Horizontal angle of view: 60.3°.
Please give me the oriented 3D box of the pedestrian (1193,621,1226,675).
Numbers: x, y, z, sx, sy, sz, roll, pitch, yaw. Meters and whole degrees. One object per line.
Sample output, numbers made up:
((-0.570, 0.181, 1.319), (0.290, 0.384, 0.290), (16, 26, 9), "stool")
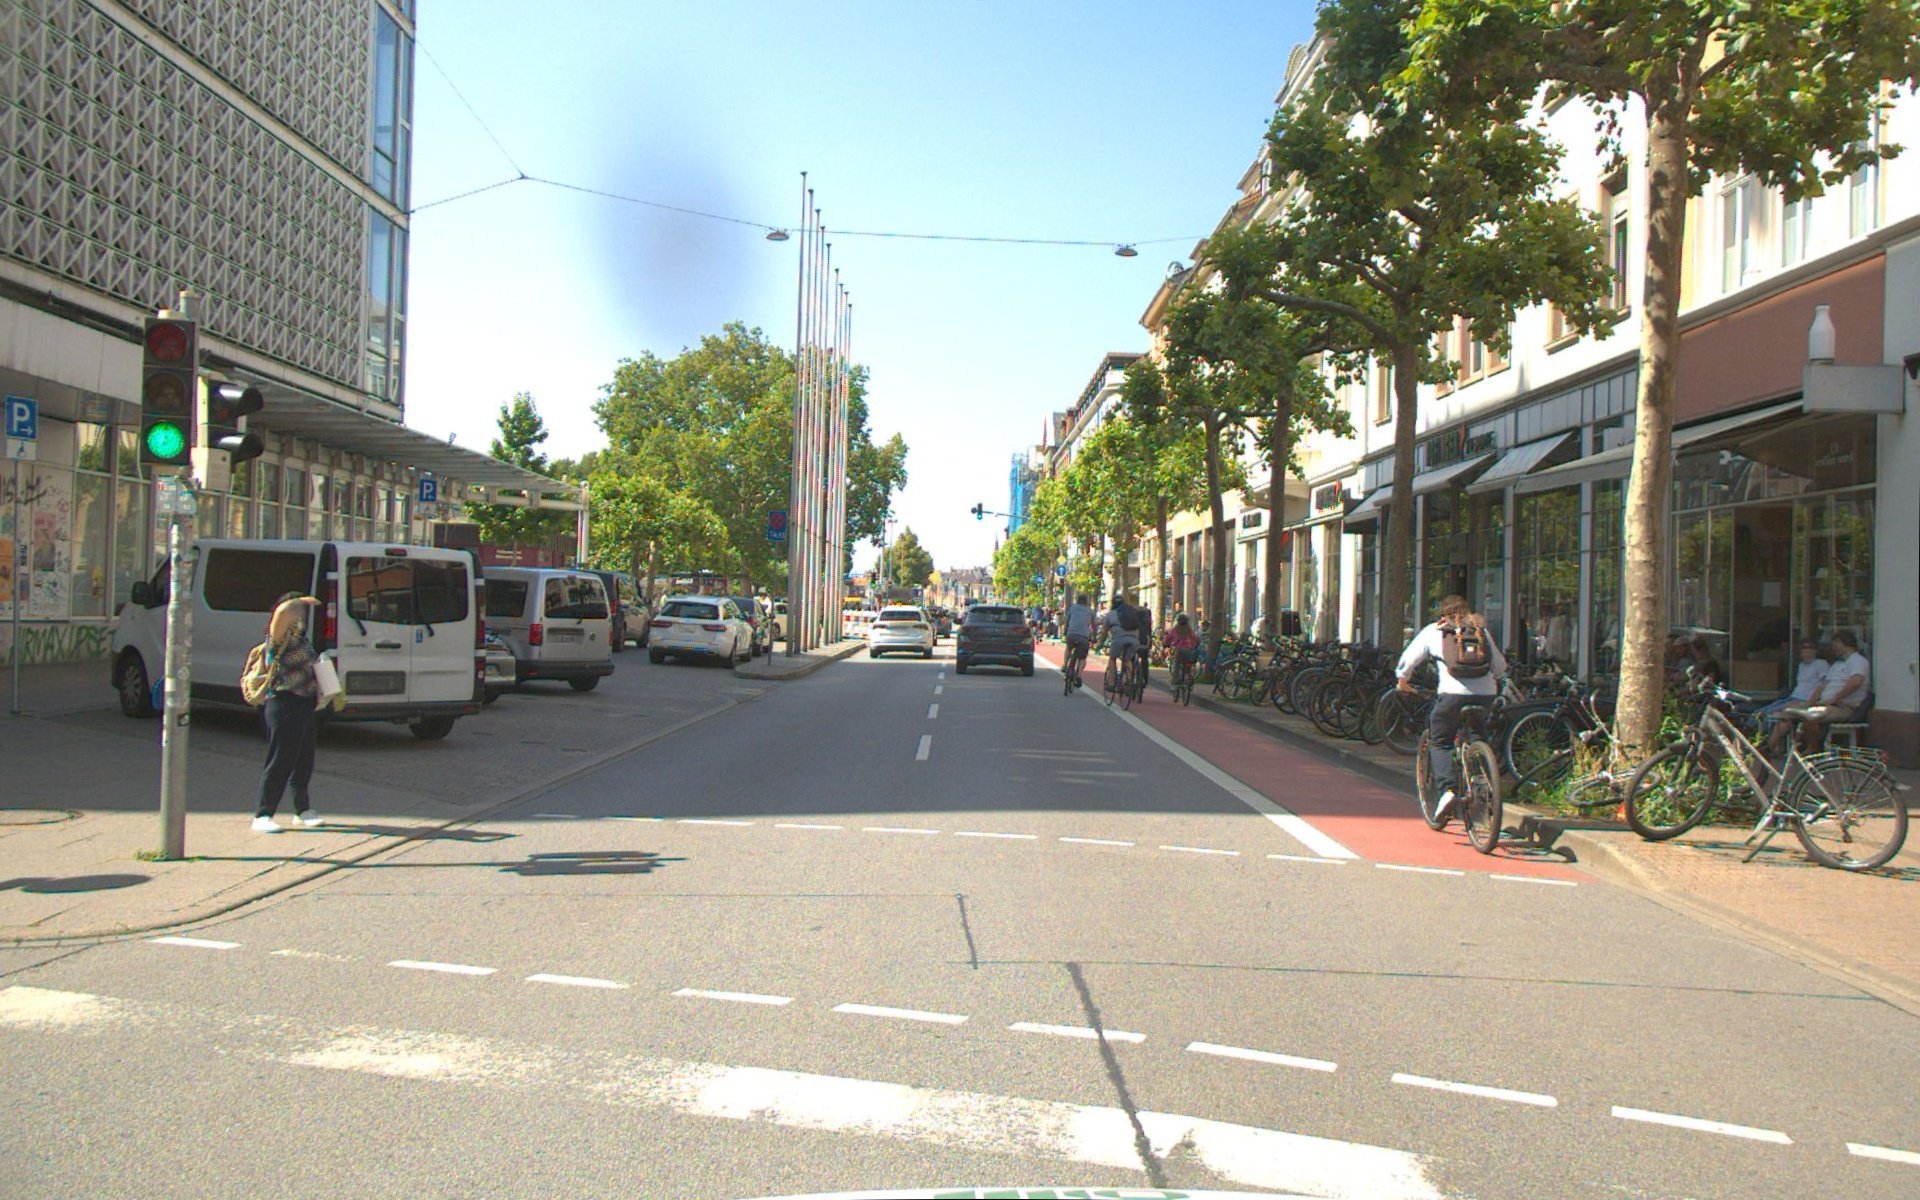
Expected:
((5.969, 1.150, 39.588), (0.626, 1.254, 0.596), (2, -2, -3), "pedestrian")

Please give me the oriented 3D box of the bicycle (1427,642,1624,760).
((5.844, 1.034, 17.147), (1.802, 1.147, 0.666), (1, -1, 2), "bicycle")

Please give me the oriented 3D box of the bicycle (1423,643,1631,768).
((5.527, 1.017, 16.176), (1.802, 1.147, 0.666), (1, -1, 2), "bicycle")

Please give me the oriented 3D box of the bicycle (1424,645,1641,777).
((5.303, 1.015, 15.397), (1.801, 1.147, 0.667), (1, -1, 7), "bicycle")

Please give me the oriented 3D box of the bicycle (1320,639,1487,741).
((5.244, 1.056, 19.609), (1.802, 1.147, 0.666), (1, -1, 2), "bicycle")

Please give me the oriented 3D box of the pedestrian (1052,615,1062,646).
((5.164, 1.620, 88.037), (0.537, 1.659, 0.589), (0, -1, 3), "pedestrian")

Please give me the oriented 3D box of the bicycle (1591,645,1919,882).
((5.109, 0.983, 10.560), (1.822, 1.209, 0.713), (6, 3, 38), "bicycle")

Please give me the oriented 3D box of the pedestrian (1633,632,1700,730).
((9.415, 1.077, 22.054), (0.667, 1.275, 0.531), (0, 0, -3), "pedestrian")

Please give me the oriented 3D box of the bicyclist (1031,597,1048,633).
((3.512, 0.669, 73.075), (0.634, 1.578, 0.817), (2, -1, 0), "bicyclist")

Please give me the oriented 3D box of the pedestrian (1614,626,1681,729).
((9.386, 1.053, 22.598), (0.667, 1.361, 0.531), (1, 0, -3), "pedestrian")

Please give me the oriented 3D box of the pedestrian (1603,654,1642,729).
((8.898, 1.225, 22.236), (0.334, 0.985, 0.437), (2, 0, 1), "pedestrian")

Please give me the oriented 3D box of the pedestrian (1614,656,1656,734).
((8.799, 1.233, 21.569), (0.357, 0.985, 0.437), (2, 0, 1), "pedestrian")

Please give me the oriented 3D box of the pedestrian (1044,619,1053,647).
((4.856, 1.816, 90.869), (0.512, 1.548, 0.641), (0, -1, 3), "pedestrian")

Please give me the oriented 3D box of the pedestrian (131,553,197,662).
((-11.821, 0.108, 24.577), (0.665, 1.586, 0.640), (1, 0, -5), "pedestrian")

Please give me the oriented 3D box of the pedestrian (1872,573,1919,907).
((5.661, 0.781, 9.164), (0.771, 1.826, 0.641), (3, 0, -3), "pedestrian")

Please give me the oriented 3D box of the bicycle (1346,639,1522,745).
((5.369, 1.034, 18.798), (1.802, 1.147, 0.666), (1, -1, 2), "bicycle")

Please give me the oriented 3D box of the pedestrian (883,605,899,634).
((-3.873, 1.095, 93.223), (0.619, 1.623, 0.686), (1, -1, 21), "pedestrian")

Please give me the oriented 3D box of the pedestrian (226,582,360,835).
((-4.372, 0.693, 10.877), (0.628, 1.586, 0.679), (3, 0, -12), "pedestrian")

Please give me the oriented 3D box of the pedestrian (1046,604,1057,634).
((5.811, 1.221, 105.235), (0.597, 1.855, 0.677), (2, -1, -2), "pedestrian")

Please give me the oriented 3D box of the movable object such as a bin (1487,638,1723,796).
((5.632, 1.001, 14.537), (1.812, 1.209, 0.653), (3, 0, 15), "movable object such as a bin")

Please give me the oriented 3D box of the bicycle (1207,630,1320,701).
((5.197, 1.117, 28.381), (1.802, 1.112, 0.564), (3, -1, 0), "bicycle")

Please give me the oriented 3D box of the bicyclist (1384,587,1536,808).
((3.524, 0.664, 11.720), (0.684, 1.471, 0.960), (3, -1, -4), "bicyclist")

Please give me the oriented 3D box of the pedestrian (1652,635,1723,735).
((9.429, 1.095, 21.456), (0.626, 1.275, 0.608), (0, -2, -3), "pedestrian")

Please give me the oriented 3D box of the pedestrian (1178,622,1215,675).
((5.745, 1.178, 40.215), (0.771, 1.265, 0.576), (2, -2, -3), "pedestrian")

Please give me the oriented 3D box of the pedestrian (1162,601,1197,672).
((5.573, 0.917, 42.059), (0.626, 1.718, 0.843), (4, 0, -3), "pedestrian")

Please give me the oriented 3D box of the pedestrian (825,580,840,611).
((-7.661, -0.246, 99.415), (0.619, 1.842, 0.731), (1, -1, 21), "pedestrian")

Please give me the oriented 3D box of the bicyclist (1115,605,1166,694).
((3.108, 0.842, 28.468), (0.684, 1.466, 0.790), (3, -1, -4), "bicyclist")

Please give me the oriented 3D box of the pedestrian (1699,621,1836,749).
((9.396, 0.977, 19.276), (1.208, 1.447, 0.789), (1, -2, -3), "pedestrian")

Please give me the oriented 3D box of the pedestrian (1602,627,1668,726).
((9.464, 1.066, 23.196), (0.667, 1.356, 0.531), (2, 0, -3), "pedestrian")

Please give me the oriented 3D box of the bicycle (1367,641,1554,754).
((5.351, 1.035, 17.751), (1.802, 1.147, 0.643), (1, -1, 2), "bicycle")

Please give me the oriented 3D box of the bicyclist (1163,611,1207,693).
((3.862, 0.886, 28.444), (0.588, 1.381, 0.720), (2, -1, -3), "bicyclist")

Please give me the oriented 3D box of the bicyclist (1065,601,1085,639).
((5.663, 0.983, 81.702), (0.568, 1.829, 0.846), (0, 0, -35), "bicyclist")

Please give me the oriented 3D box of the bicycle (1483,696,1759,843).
((5.261, 1.376, 13.289), (1.814, 0.401, 1.024), (10, -36, 4), "bicycle")

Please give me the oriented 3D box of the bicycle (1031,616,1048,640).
((3.512, 1.219, 73.190), (0.634, 1.015, 2.030), (1, 0, 0), "bicycle")

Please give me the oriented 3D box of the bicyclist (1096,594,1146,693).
((2.524, 0.680, 25.999), (0.617, 1.507, 1.198), (1, -1, -1), "bicyclist")

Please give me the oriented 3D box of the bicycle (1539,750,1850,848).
((5.488, 1.520, 12.488), (1.123, 0.441, 1.842), (-10, -4, -26), "bicycle")

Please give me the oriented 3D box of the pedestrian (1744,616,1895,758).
((9.552, 0.955, 18.416), (1.227, 1.509, 0.837), (2, -1, -3), "pedestrian")

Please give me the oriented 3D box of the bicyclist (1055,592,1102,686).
((2.136, 0.700, 29.898), (0.758, 1.664, 0.851), (1, 0, 0), "bicyclist")

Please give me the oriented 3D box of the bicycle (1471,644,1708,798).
((5.336, 1.015, 14.094), (1.801, 1.146, 0.346), (3, 1, 15), "bicycle")
